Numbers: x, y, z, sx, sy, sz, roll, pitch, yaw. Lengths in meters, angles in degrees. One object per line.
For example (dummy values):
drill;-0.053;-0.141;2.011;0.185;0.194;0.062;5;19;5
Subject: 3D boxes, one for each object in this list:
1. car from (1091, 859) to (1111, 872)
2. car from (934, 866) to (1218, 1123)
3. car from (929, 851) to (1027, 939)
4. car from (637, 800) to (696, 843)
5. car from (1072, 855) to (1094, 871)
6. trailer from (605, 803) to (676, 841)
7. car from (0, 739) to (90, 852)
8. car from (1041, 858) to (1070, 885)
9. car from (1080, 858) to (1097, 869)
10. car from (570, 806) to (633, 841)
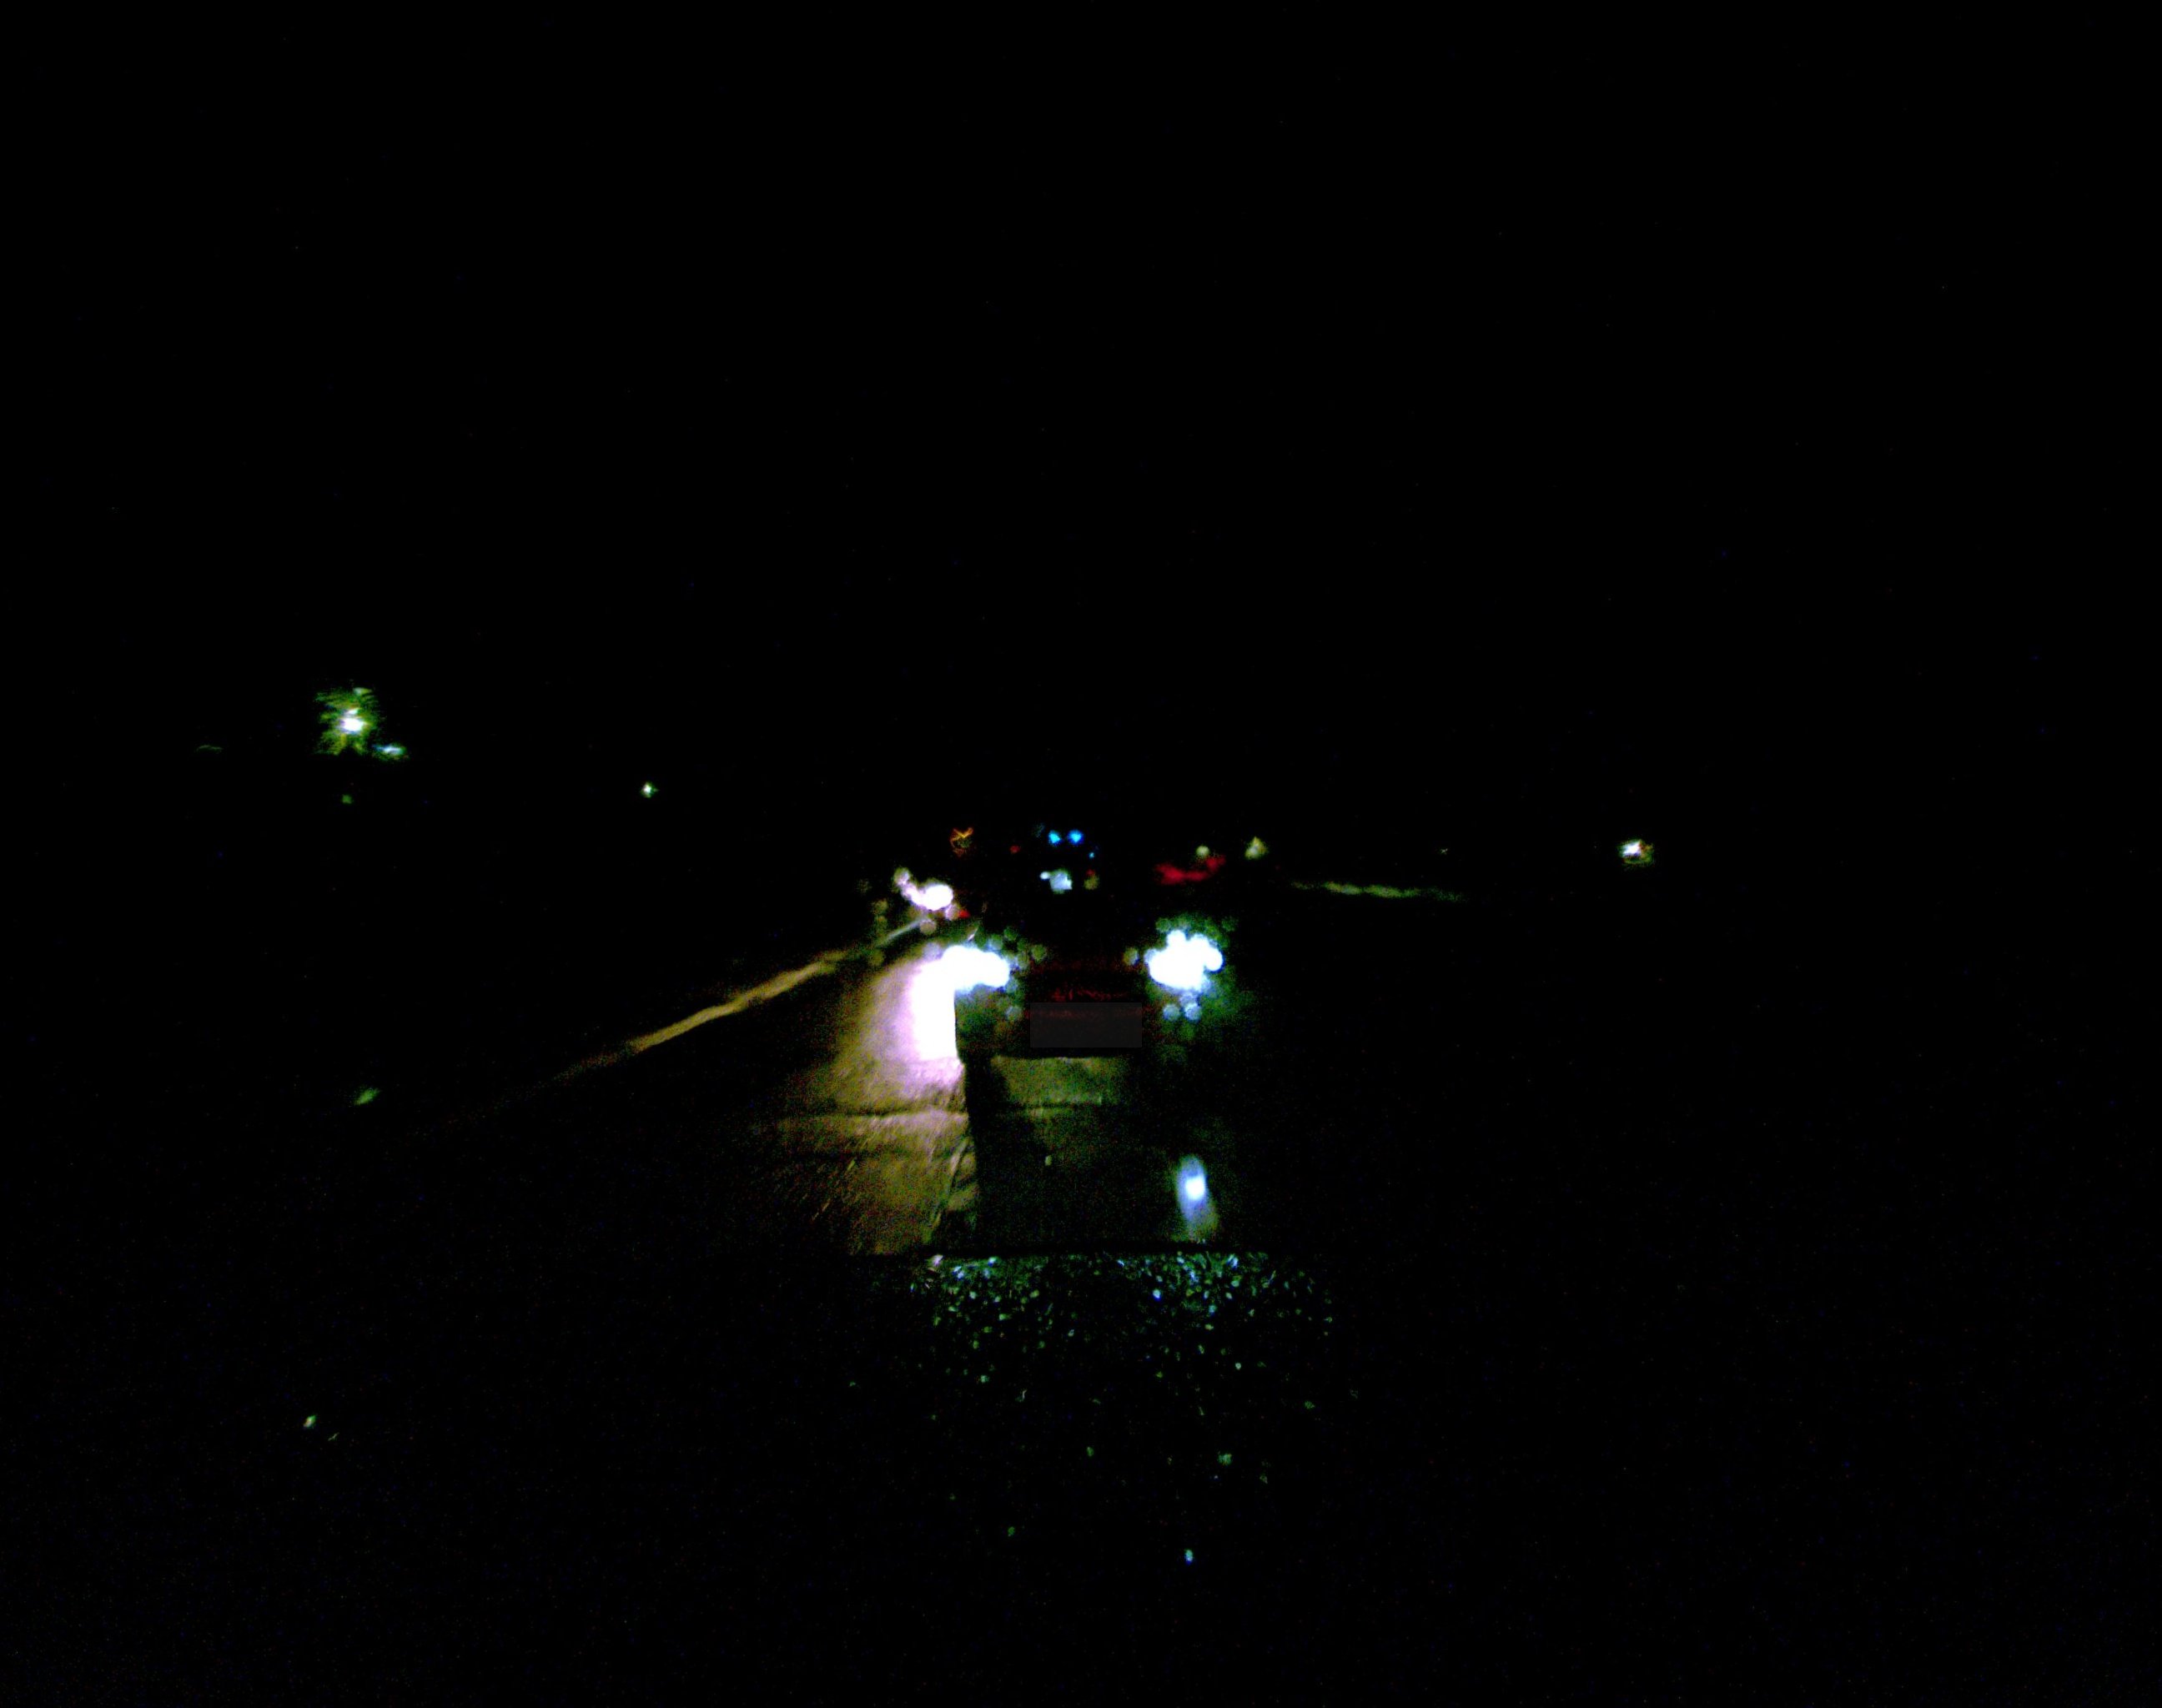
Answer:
car;2.358;1.358;90.443;1.923;1.435;4.544;-1;0;-3
car;-0.041;0.943;7.286;1.810;1.590;4.786;-1;0;0
car;-2.351;0.885;18.408;1.760;1.807;4.709;-2;0;-1
car;-28.078;-2.142;51.673;2.122;2.619;5.444;-1;0;-14
car;0.202;0.835;72.572;1.699;1.426;4.291;-2;0;-5
trailer;-26.670;-1.890;46.263;2.234;2.059;5.713;-1;0;-14
car;-16.251;-0.864;10.090;1.642;1.608;4.128;-1;0;-17
car;-1.506;1.028;44.843;1.625;1.477;3.785;-1;-1;-2
car;1.059;1.401;111.585;2.083;1.441;4.990;-1;0;-4
car;-24.514;-1.522;38.987;1.619;1.630;3.994;-1;0;-16
